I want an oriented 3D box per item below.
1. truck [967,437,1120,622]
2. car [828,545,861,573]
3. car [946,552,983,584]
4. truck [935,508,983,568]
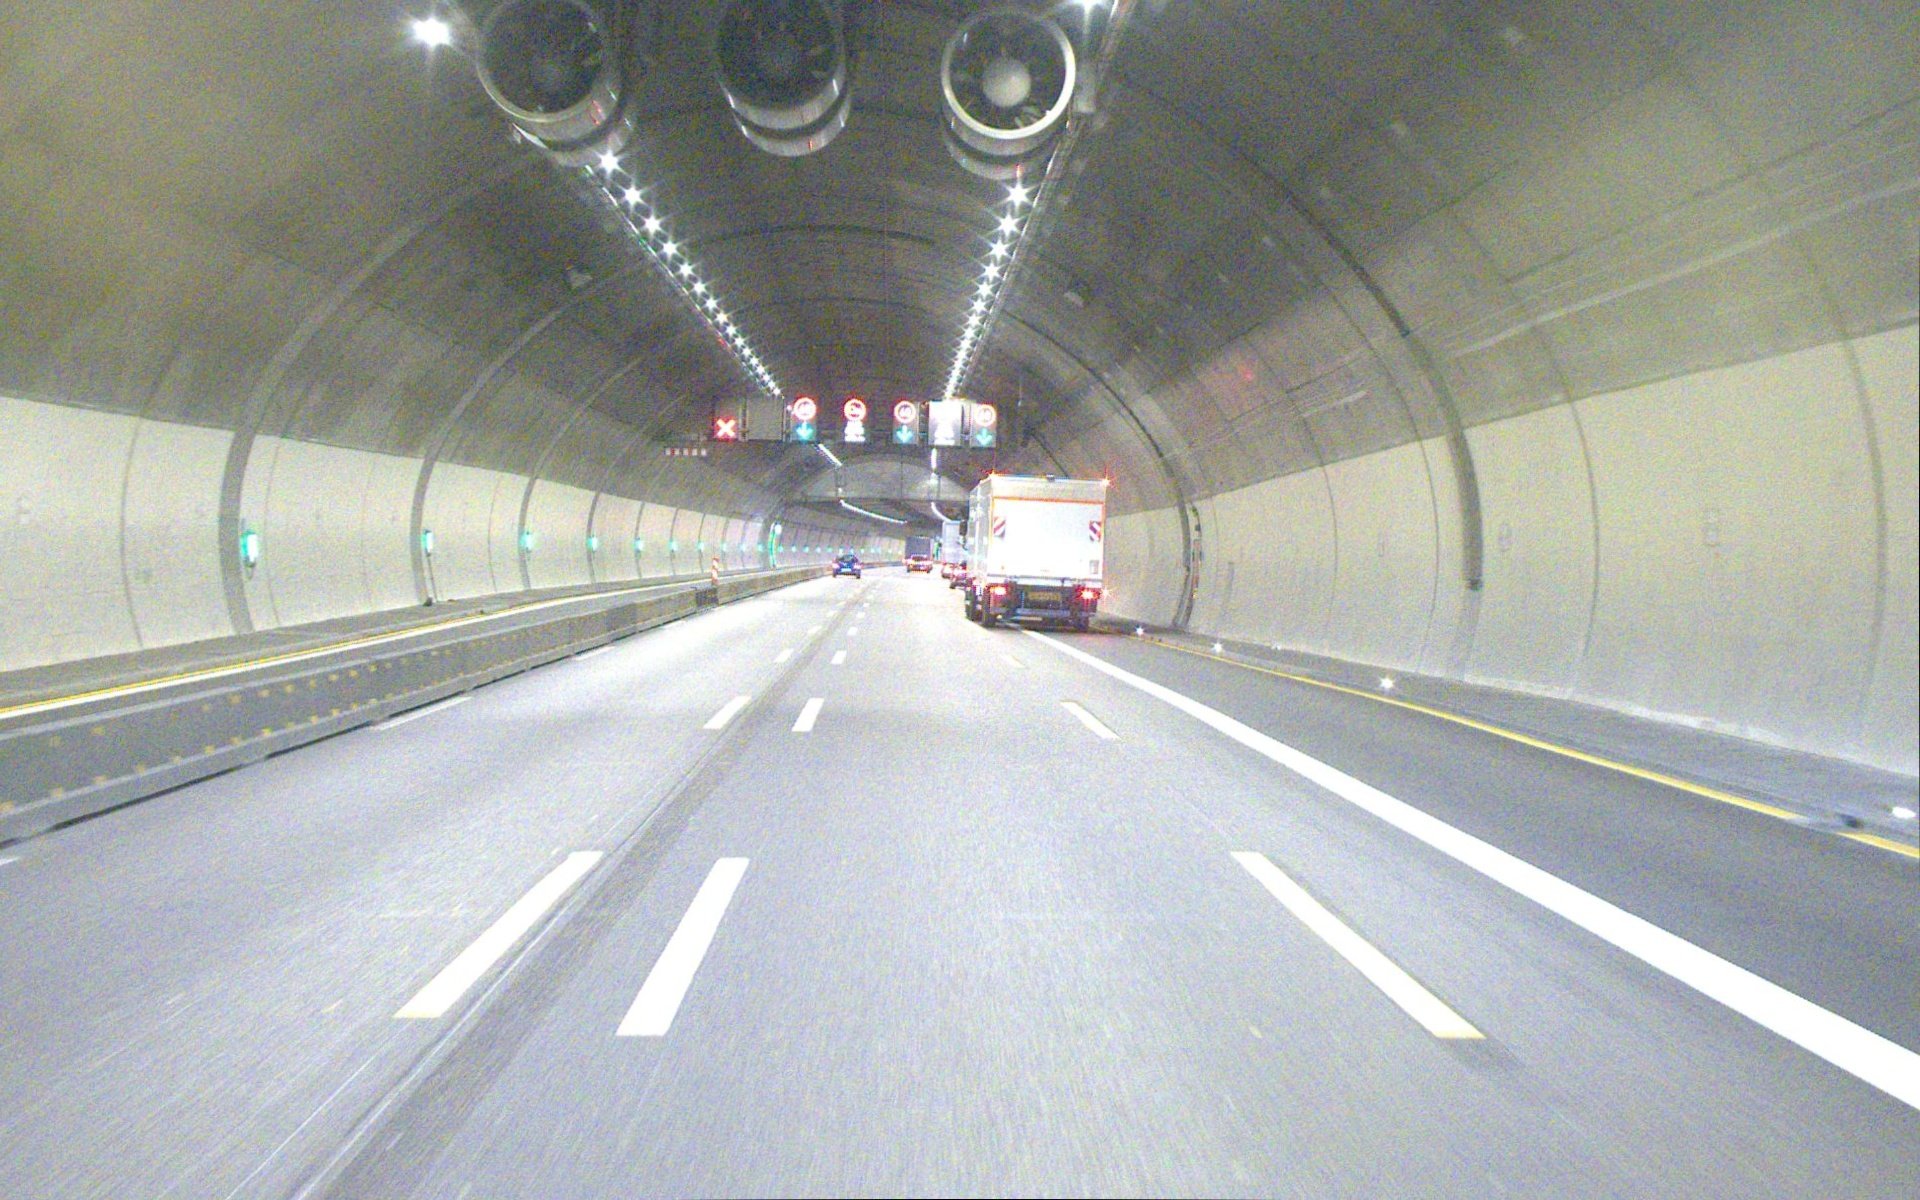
[{"bbox_3d":[1.813,-1.529,79.435,3.092,3.904,10.368,2,0,0],"label":"truck"},{"bbox_3d":[-6.564,-2.347,195.894,1.758,1.456,4.119,1,1,0],"label":"car"},{"bbox_3d":[0.229,-1.569,168.217,1.739,1.456,3.960,1,1,1],"label":"car"},{"bbox_3d":[-0.043,-4.250,239.472,3.066,3.904,10.367,2,0,1],"label":"truck"}]
